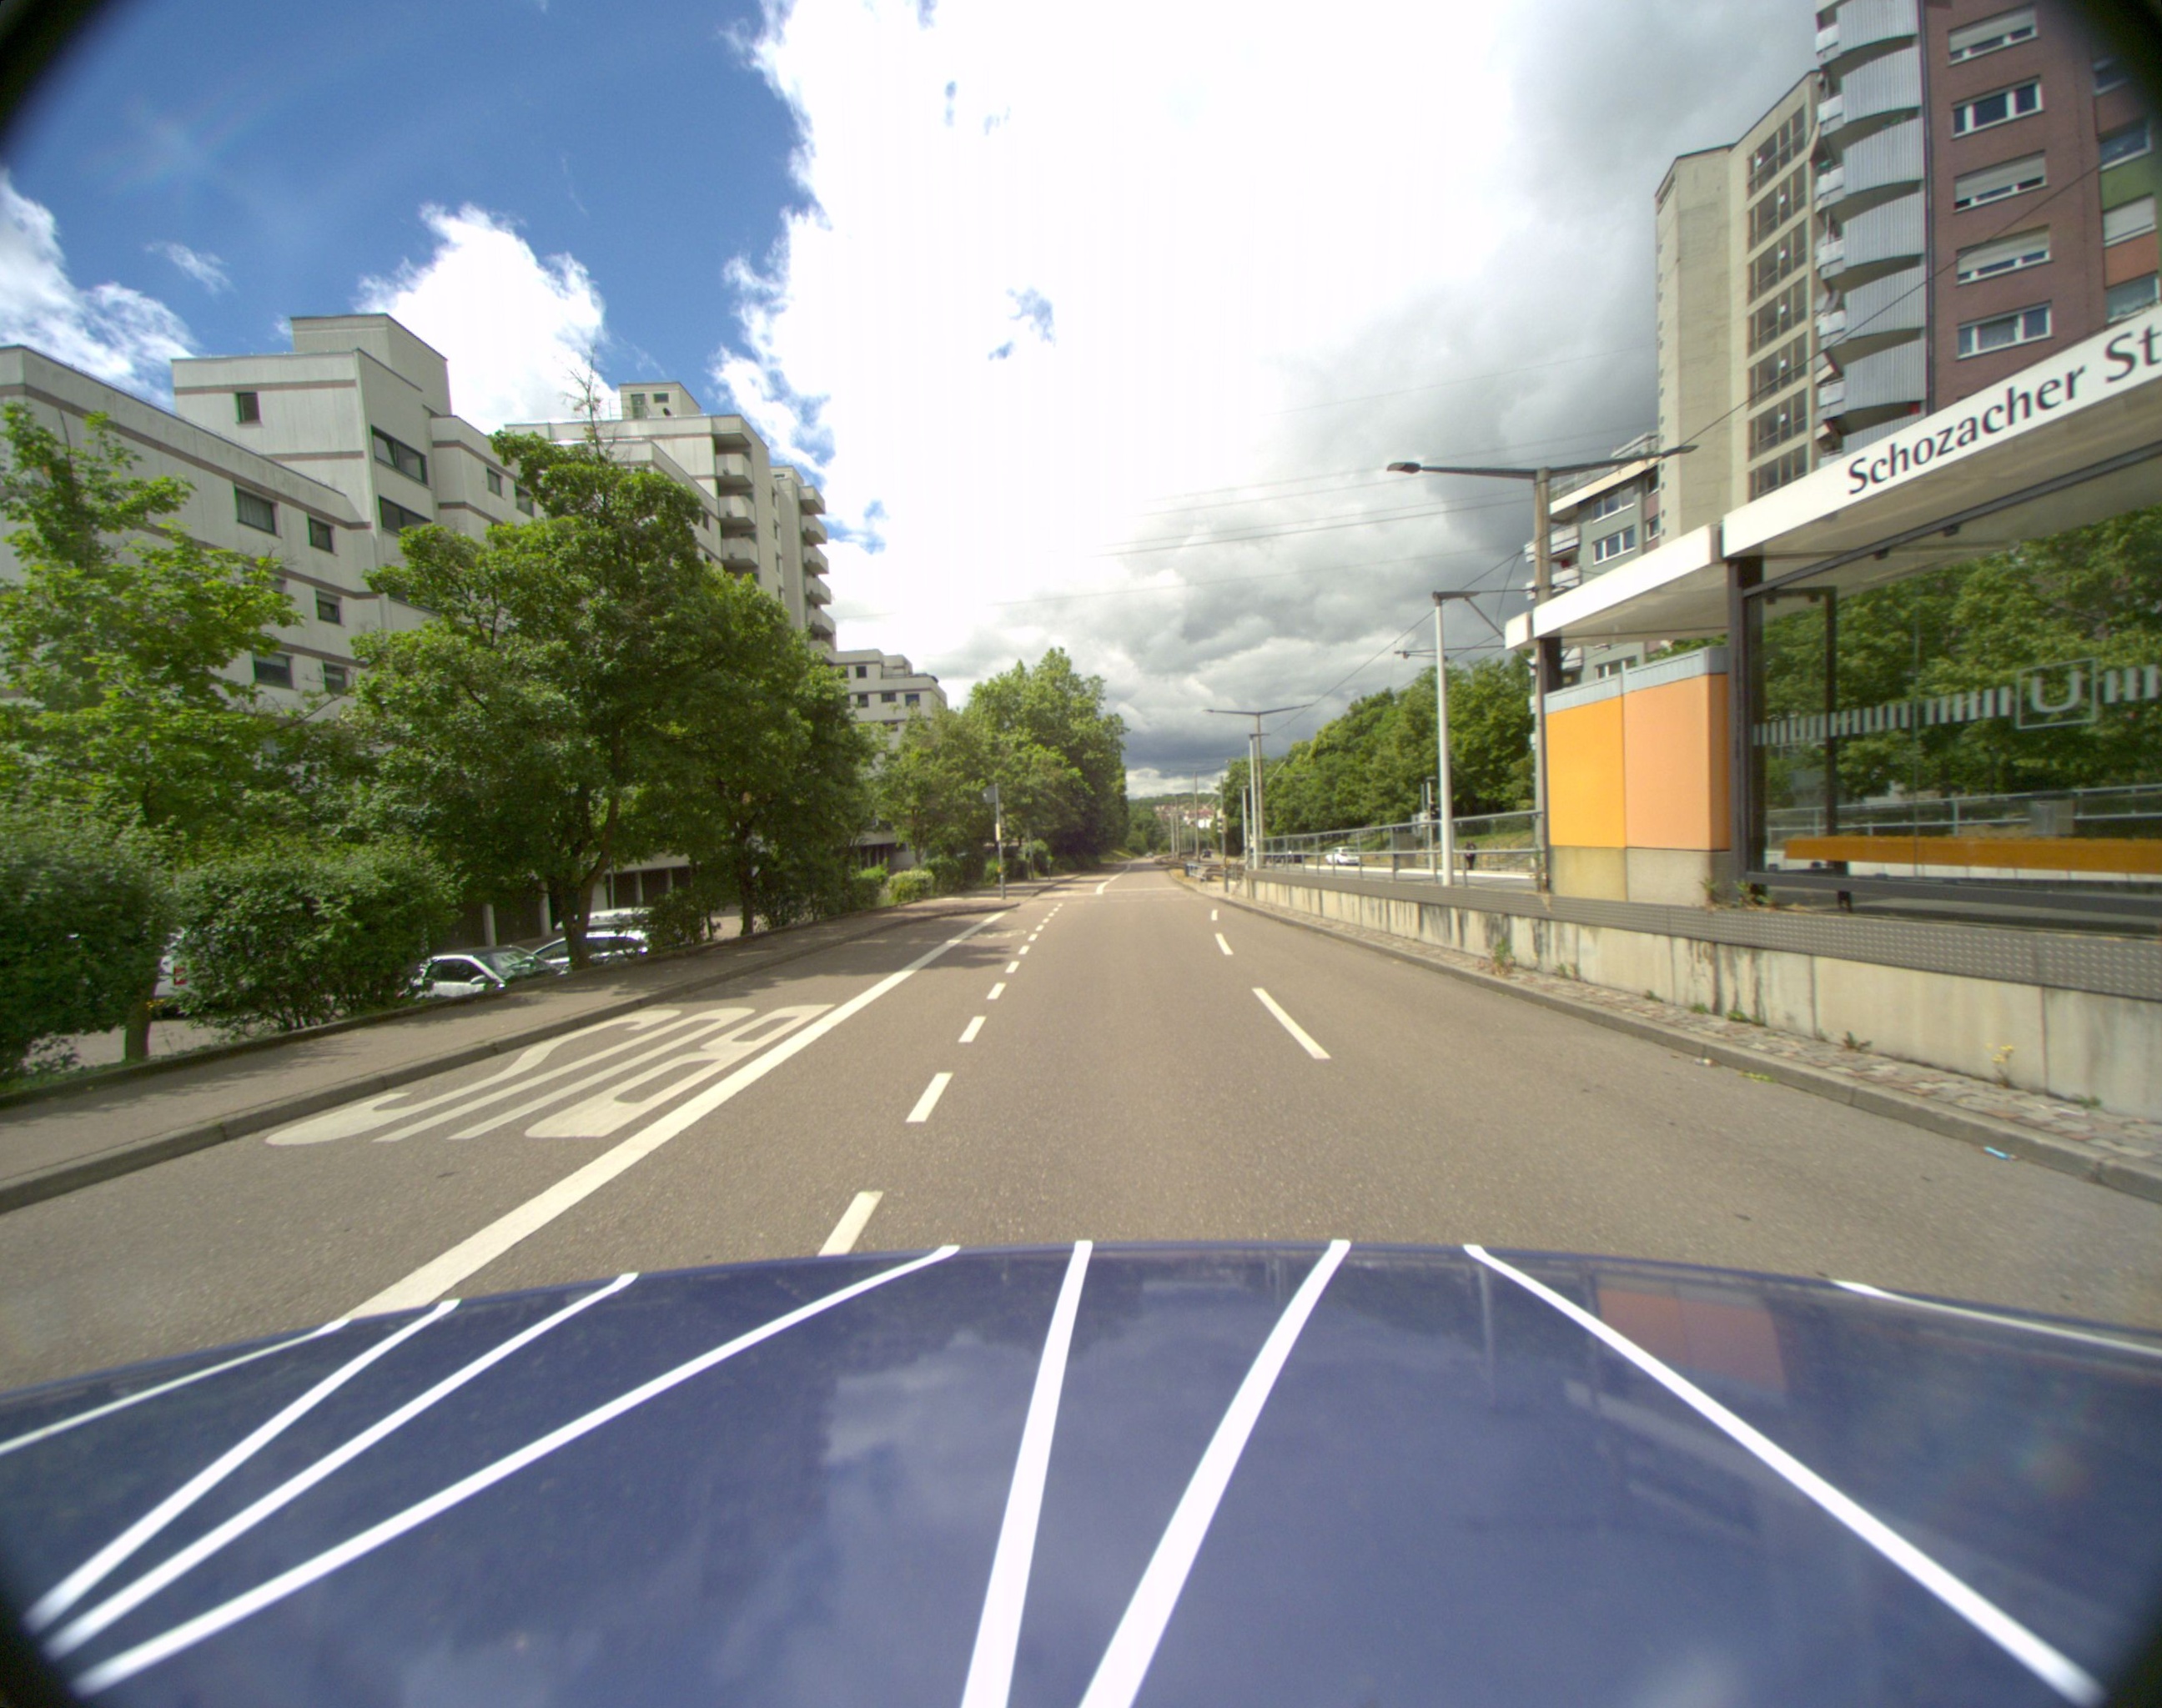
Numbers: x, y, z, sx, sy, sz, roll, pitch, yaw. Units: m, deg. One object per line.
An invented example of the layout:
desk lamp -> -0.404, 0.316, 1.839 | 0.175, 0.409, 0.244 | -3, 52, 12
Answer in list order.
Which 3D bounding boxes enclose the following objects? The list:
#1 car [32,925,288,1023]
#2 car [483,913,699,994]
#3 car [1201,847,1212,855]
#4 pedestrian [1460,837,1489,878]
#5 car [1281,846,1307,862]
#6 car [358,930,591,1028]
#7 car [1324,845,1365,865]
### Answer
car -> -21.146, 2.694, 17.550 | 3.995, 1.882, 1.791 | -1, 3, 7
car -> -10.820, 2.187, 16.939 | 3.761, 1.424, 1.564 | -3, 2, 3
car -> 23.791, -0.562, 144.429 | 1.658, 1.503, 3.738 | -2, 0, 3
pedestrian -> 15.736, 0.140, 30.385 | 0.690, 1.554, 0.824 | -3, 0, 1
car -> 20.761, 0.005, 74.211 | 1.658, 1.503, 3.738 | -2, 0, 3
car -> -11.338, 2.312, 14.361 | 2.963, 1.461, 1.724 | -3, 1, 3
car -> 19.859, 0.093, 57.405 | 1.659, 1.410, 3.999 | -2, 0, -1
